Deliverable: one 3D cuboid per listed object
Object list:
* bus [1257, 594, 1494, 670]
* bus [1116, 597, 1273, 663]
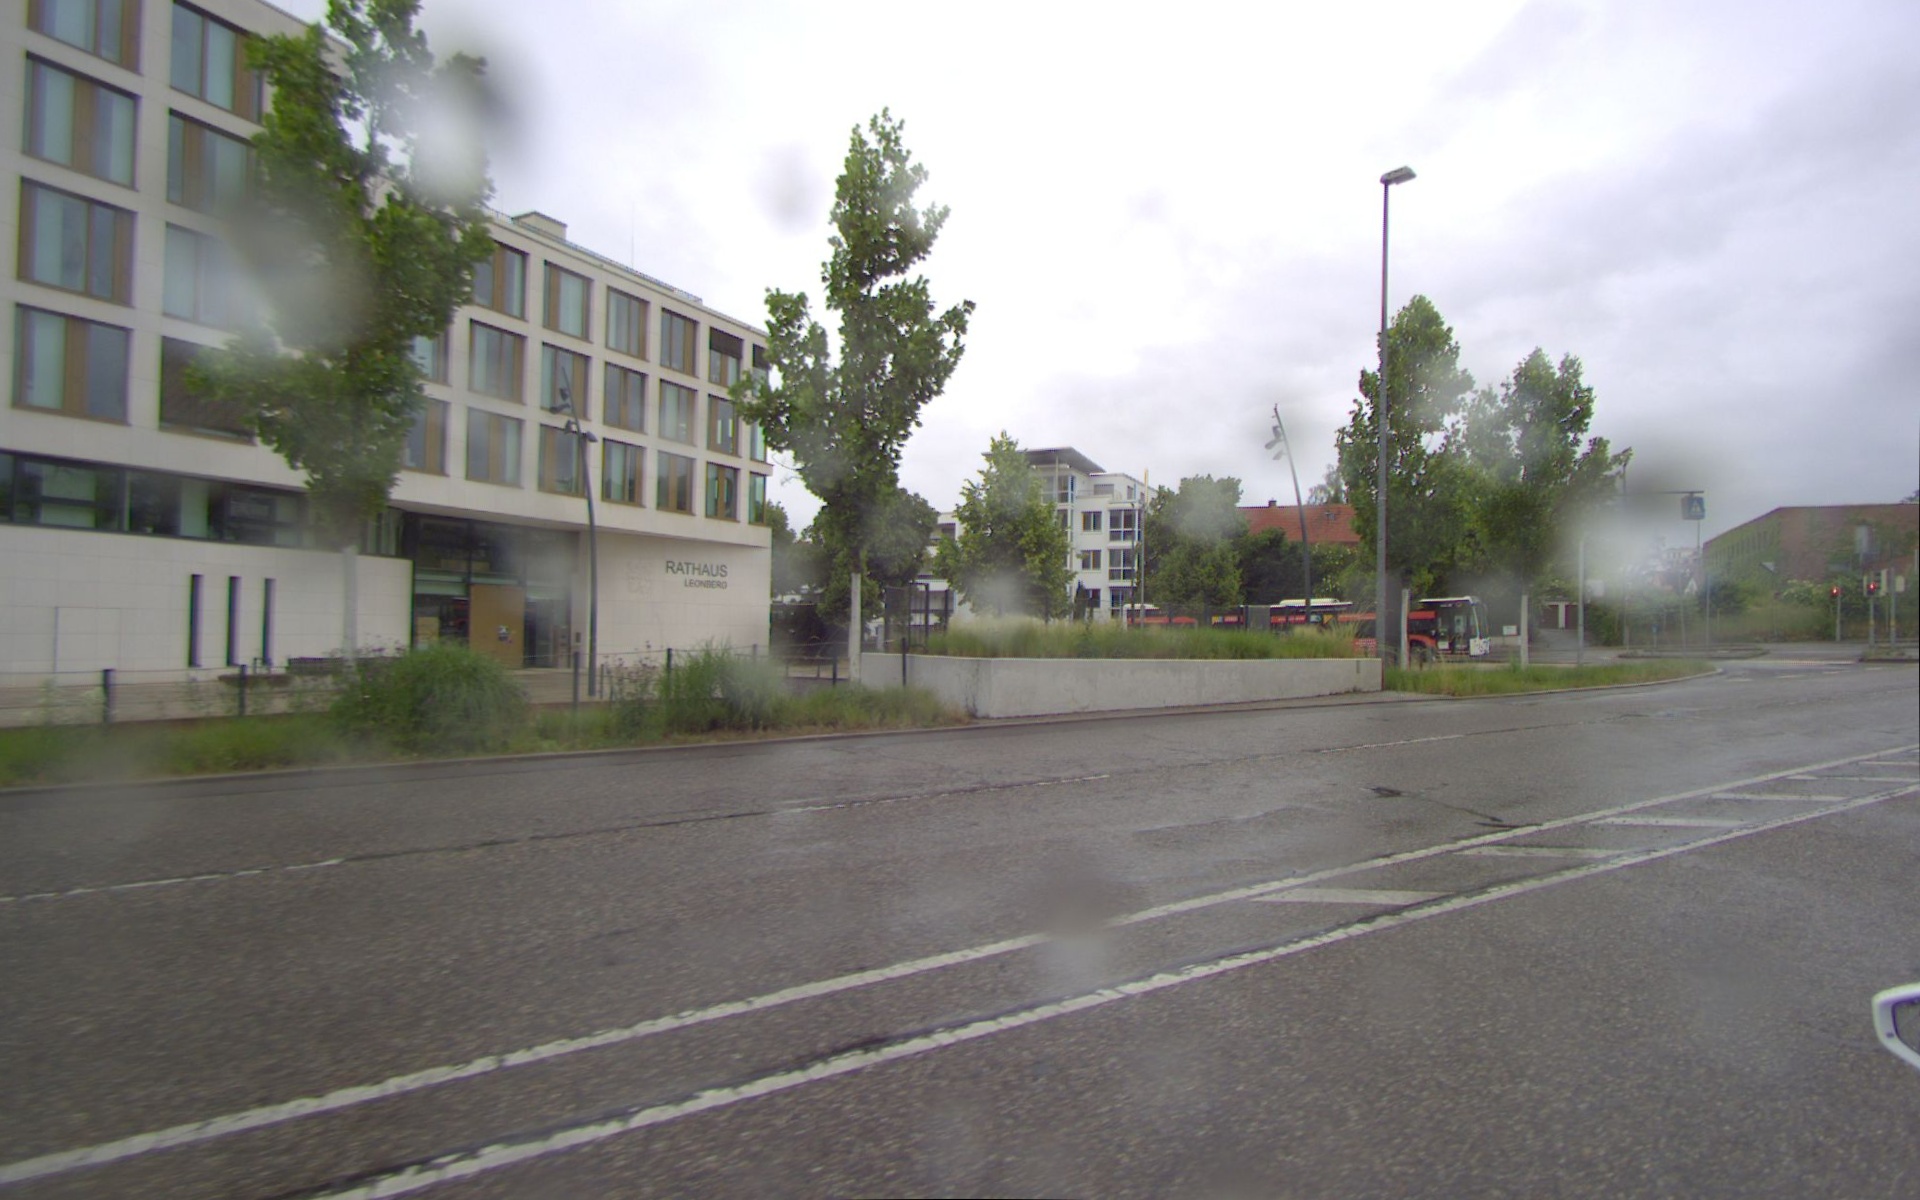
[{"bbox_3d":[19.886,1.541,48.590,10.237,3.323,2.855,0,-4,35],"label":"bus"},{"bbox_3d":[12.513,1.594,53.926,7.704,3.323,2.737,0,-4,32],"label":"bus"}]
